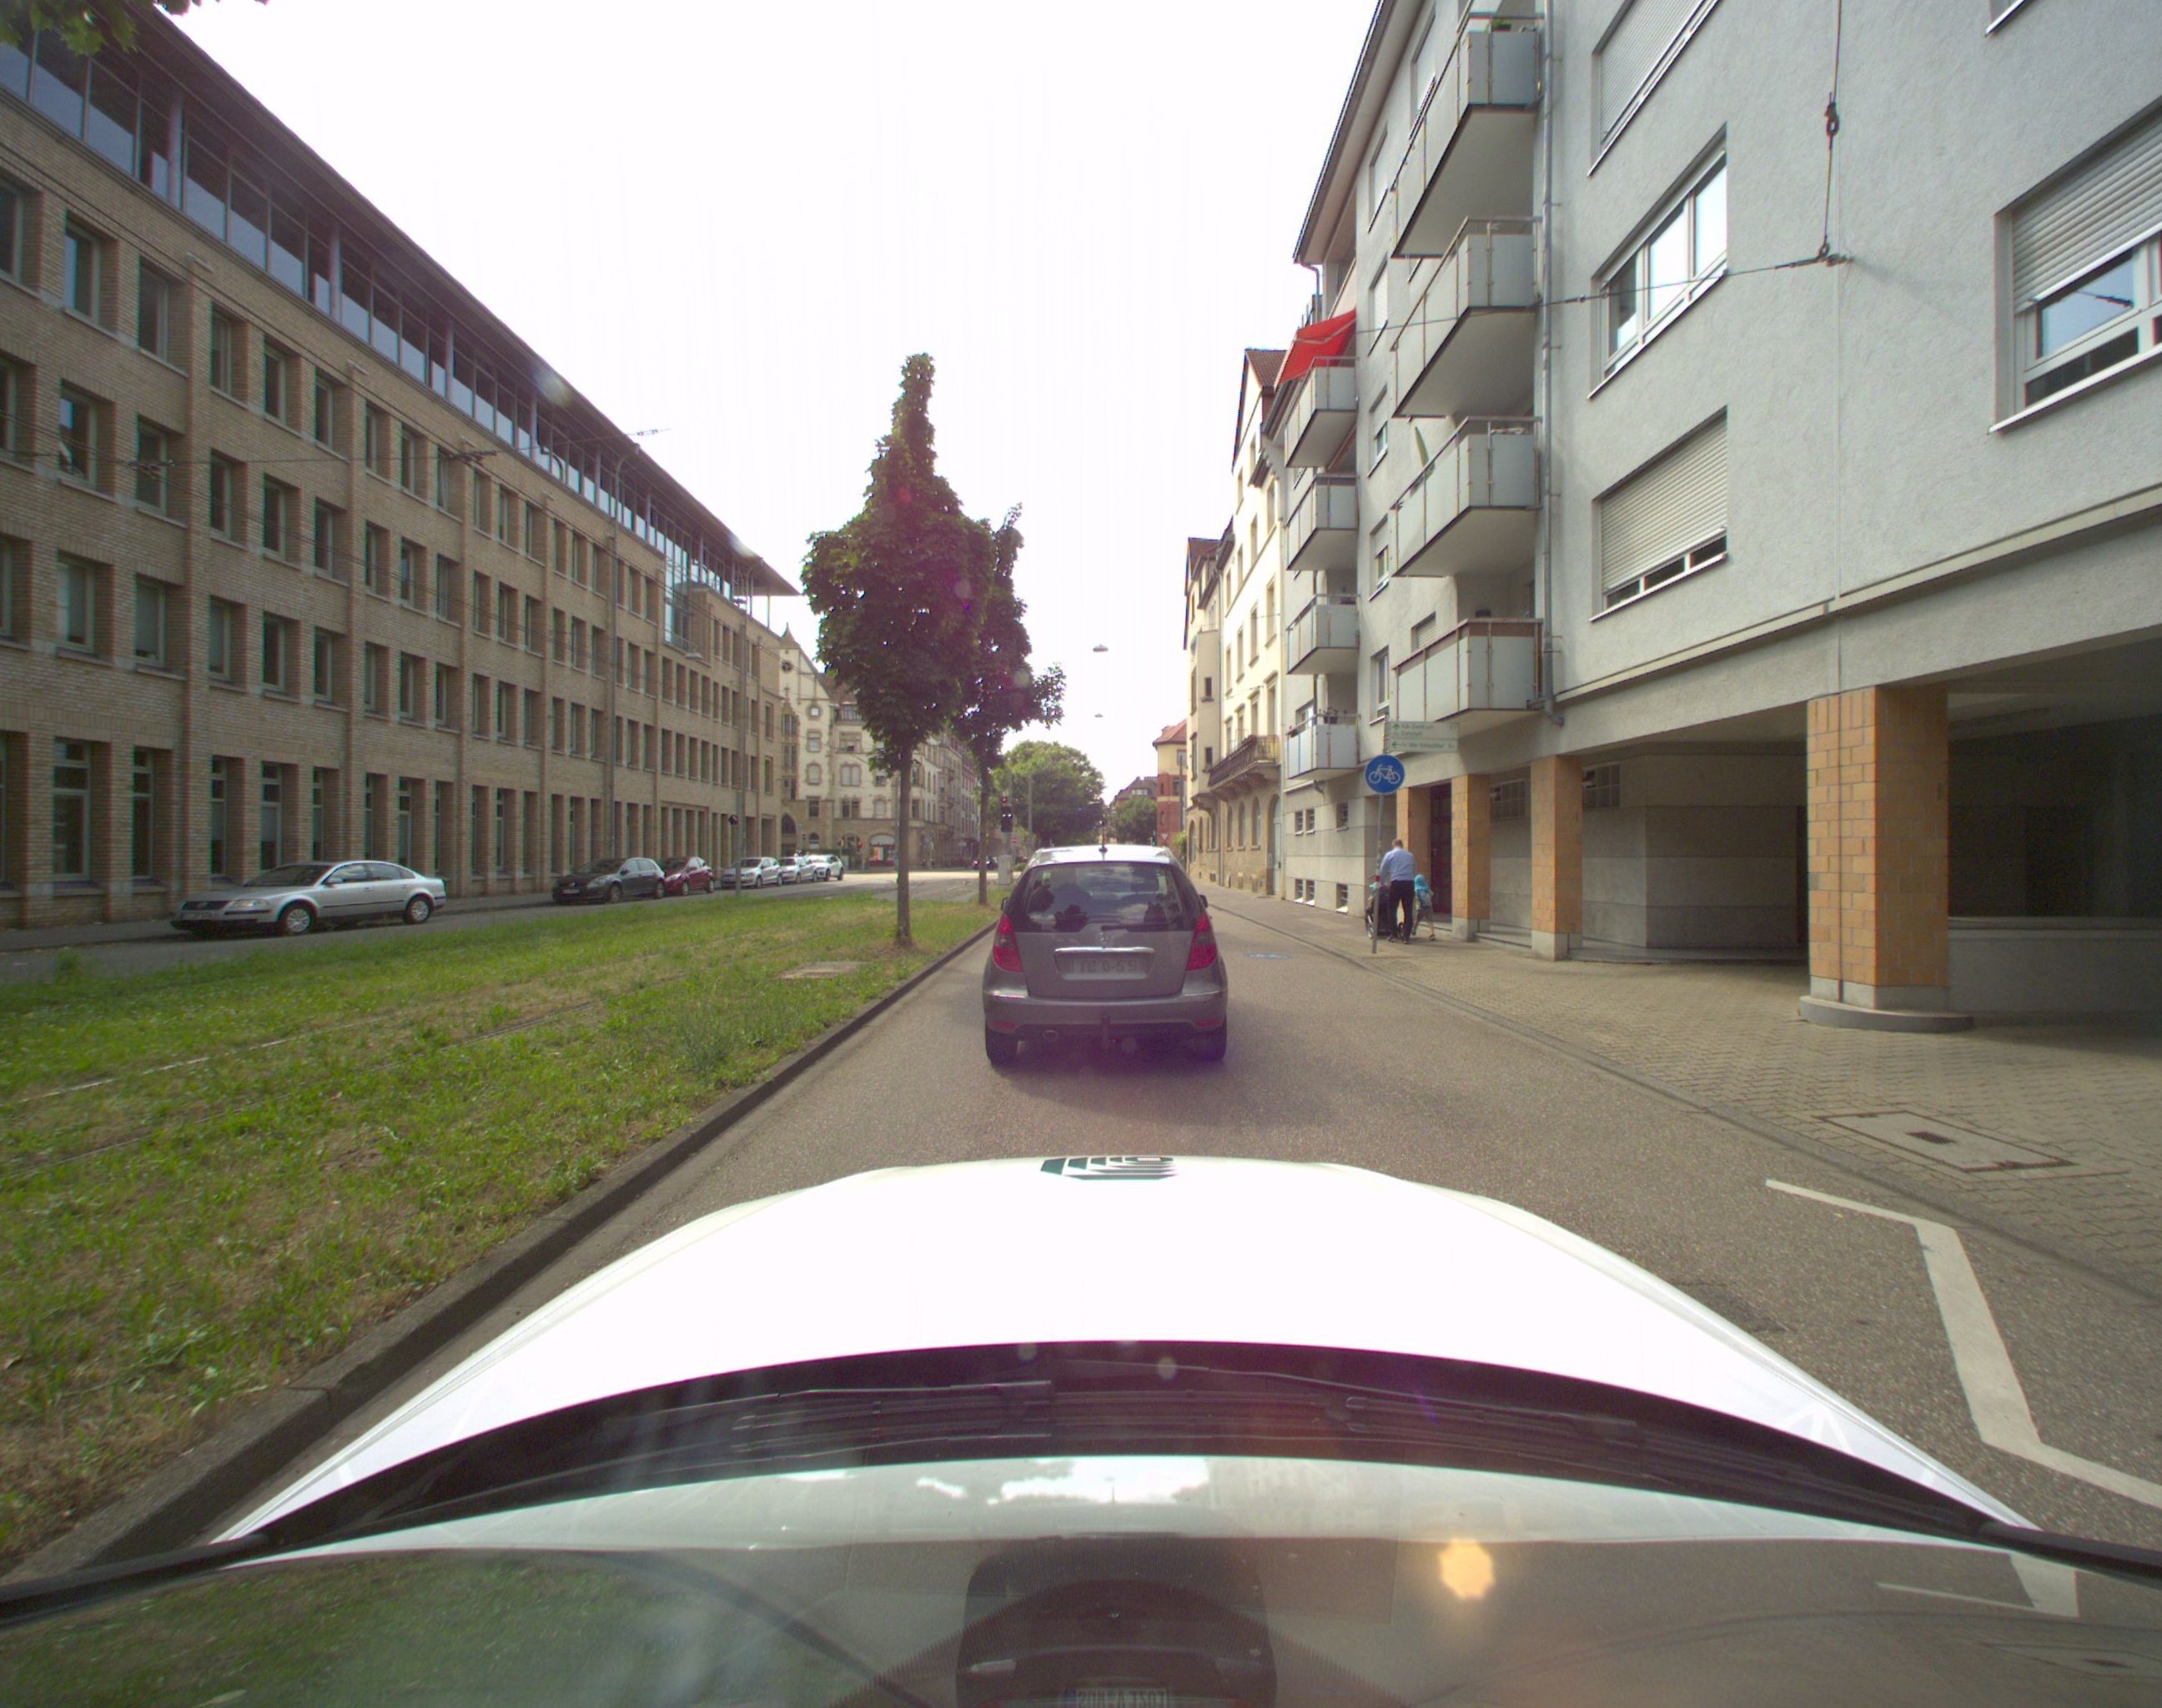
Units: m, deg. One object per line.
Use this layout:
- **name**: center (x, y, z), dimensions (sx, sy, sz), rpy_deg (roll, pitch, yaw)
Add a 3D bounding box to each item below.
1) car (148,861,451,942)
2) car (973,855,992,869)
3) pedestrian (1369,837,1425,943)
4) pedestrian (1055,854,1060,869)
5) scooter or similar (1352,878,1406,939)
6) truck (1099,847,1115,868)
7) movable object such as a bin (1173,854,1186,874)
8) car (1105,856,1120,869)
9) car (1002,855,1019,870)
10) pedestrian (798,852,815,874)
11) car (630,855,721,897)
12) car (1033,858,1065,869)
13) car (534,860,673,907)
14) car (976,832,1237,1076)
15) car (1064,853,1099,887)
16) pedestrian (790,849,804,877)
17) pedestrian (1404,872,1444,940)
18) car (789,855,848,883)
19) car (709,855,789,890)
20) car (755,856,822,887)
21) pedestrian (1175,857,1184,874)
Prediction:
- **car**: center (-15.456, 0.856, 16.543), dimensions (1.708, 1.396, 4.486), rpy_deg (0, 0, 2)
- **car**: center (-11.617, 0.938, 96.161), dimensions (1.990, 1.618, 3.994), rpy_deg (-1, 0, -4)
- **pedestrian**: center (5.401, 0.598, 13.959), dimensions (0.618, 1.739, 0.877), rpy_deg (-1, 0, 2)
- **pedestrian**: center (-2.725, 0.857, 94.233), dimensions (0.492, 1.725, 0.652), rpy_deg (0, -1, -7)
- **scooter or similar**: center (5.369, 0.963, 14.708), dimensions (0.590, 1.002, 0.906), rpy_deg (-4, 0, 2)
- **truck**: center (3.781, 0.467, 117.051), dimensions (2.113, 2.970, 4.005), rpy_deg (-1, 0, 5)
- **movable object such as a bin**: center (7.152, 0.716, 59.281), dimensions (0.714, 1.472, 0.980), rpy_deg (-1, -1, -8)
- **car**: center (3.987, 1.064, 104.071), dimensions (1.744, 1.633, 3.504), rpy_deg (0, 0, 5)
- **car**: center (-8.438, 0.999, 97.623), dimensions (1.990, 1.728, 3.994), rpy_deg (-1, 0, -4)
- **pedestrian**: center (-21.592, 0.681, 64.077), dimensions (1.029, 1.722, 0.767), rpy_deg (1, -1, -43)
- **car**: center (-15.396, 0.793, 31.130), dimensions (1.577, 1.530, 3.551), rpy_deg (0, 0, 2)
- **car**: center (-3.918, 1.120, 98.864), dimensions (1.984, 1.339, 3.954), rpy_deg (0, 0, -38)
- **car**: center (-15.394, 0.894, 26.568), dimensions (1.925, 1.396, 4.241), rpy_deg (0, 0, 2)
- **car**: center (0.227, 0.674, 7.239), dimensions (1.716, 1.605, 3.678), rpy_deg (-1, 0, 2)
- **car**: center (0.065, 0.847, 44.208), dimensions (1.716, 1.706, 3.678), rpy_deg (-1, 0, 2)
- **pedestrian**: center (-18.344, 0.564, 52.563), dimensions (0.763, 1.795, 0.952), rpy_deg (0, -1, -24)
- **pedestrian**: center (6.012, 0.898, 14.285), dimensions (0.454, 1.135, 0.494), rpy_deg (-2, 0, 1)
- **car**: center (-15.224, 0.831, 47.476), dimensions (1.925, 1.535, 4.260), rpy_deg (0, 0, 2)
- **car**: center (-15.271, 0.826, 37.724), dimensions (1.844, 1.530, 4.212), rpy_deg (0, 0, 2)
- **car**: center (-15.328, 0.886, 42.911), dimensions (1.925, 1.530, 4.016), rpy_deg (0, 0, 2)
- **pedestrian**: center (9.452, 1.115, 78.303), dimensions (0.865, 1.656, 0.737), rpy_deg (0, 0, 5)
